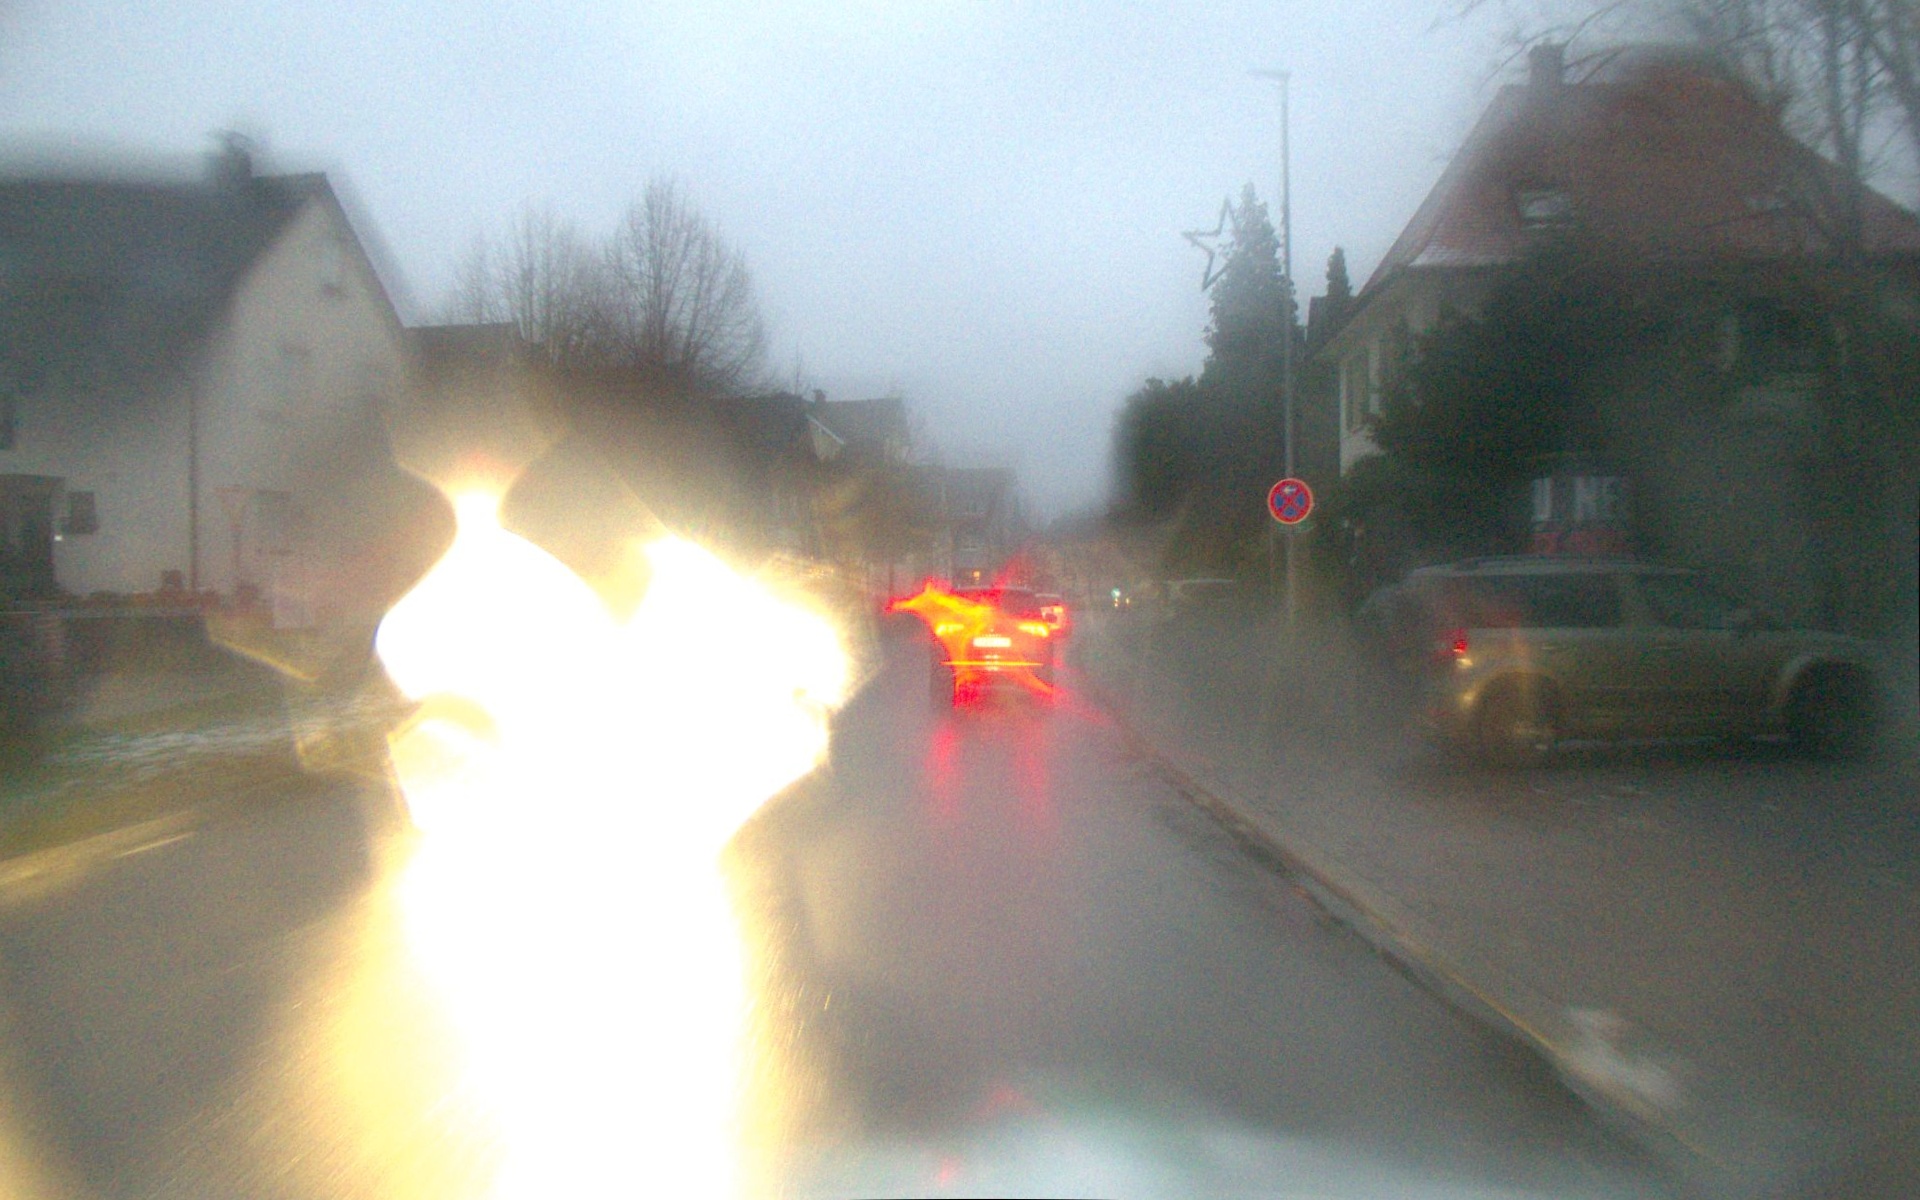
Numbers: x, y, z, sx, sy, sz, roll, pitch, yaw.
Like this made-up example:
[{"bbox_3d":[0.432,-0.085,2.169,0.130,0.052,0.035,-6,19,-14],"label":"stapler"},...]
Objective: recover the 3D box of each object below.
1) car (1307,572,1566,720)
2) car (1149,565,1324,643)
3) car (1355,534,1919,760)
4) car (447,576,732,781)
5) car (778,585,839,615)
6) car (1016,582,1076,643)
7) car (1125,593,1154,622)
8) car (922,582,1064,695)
[{"bbox_3d":[5.670,0.481,20.321,1.854,1.581,4.756,-1,0,1],"label":"car"},{"bbox_3d":[7.233,0.102,43.596,4.234,1.762,2.000,-3,0,1],"label":"car"},{"bbox_3d":[5.560,0.372,13.853,4.018,1.736,2.000,0,-1,-1],"label":"car"},{"bbox_3d":[-3.408,0.647,16.035,1.777,1.661,4.224,-2,0,0],"label":"car"},{"bbox_3d":[-7.184,-0.003,78.863,1.744,1.390,4.003,0,0,13],"label":"car"},{"bbox_3d":[3.039,0.423,57.826,1.951,2.049,4.002,0,0,5],"label":"car"},{"bbox_3d":[13.256,0.551,122.167,1.951,2.049,4.002,-1,0,4],"label":"car"},{"bbox_3d":[0.412,0.519,24.794,1.953,1.552,3.999,0,0,-2],"label":"car"}]
